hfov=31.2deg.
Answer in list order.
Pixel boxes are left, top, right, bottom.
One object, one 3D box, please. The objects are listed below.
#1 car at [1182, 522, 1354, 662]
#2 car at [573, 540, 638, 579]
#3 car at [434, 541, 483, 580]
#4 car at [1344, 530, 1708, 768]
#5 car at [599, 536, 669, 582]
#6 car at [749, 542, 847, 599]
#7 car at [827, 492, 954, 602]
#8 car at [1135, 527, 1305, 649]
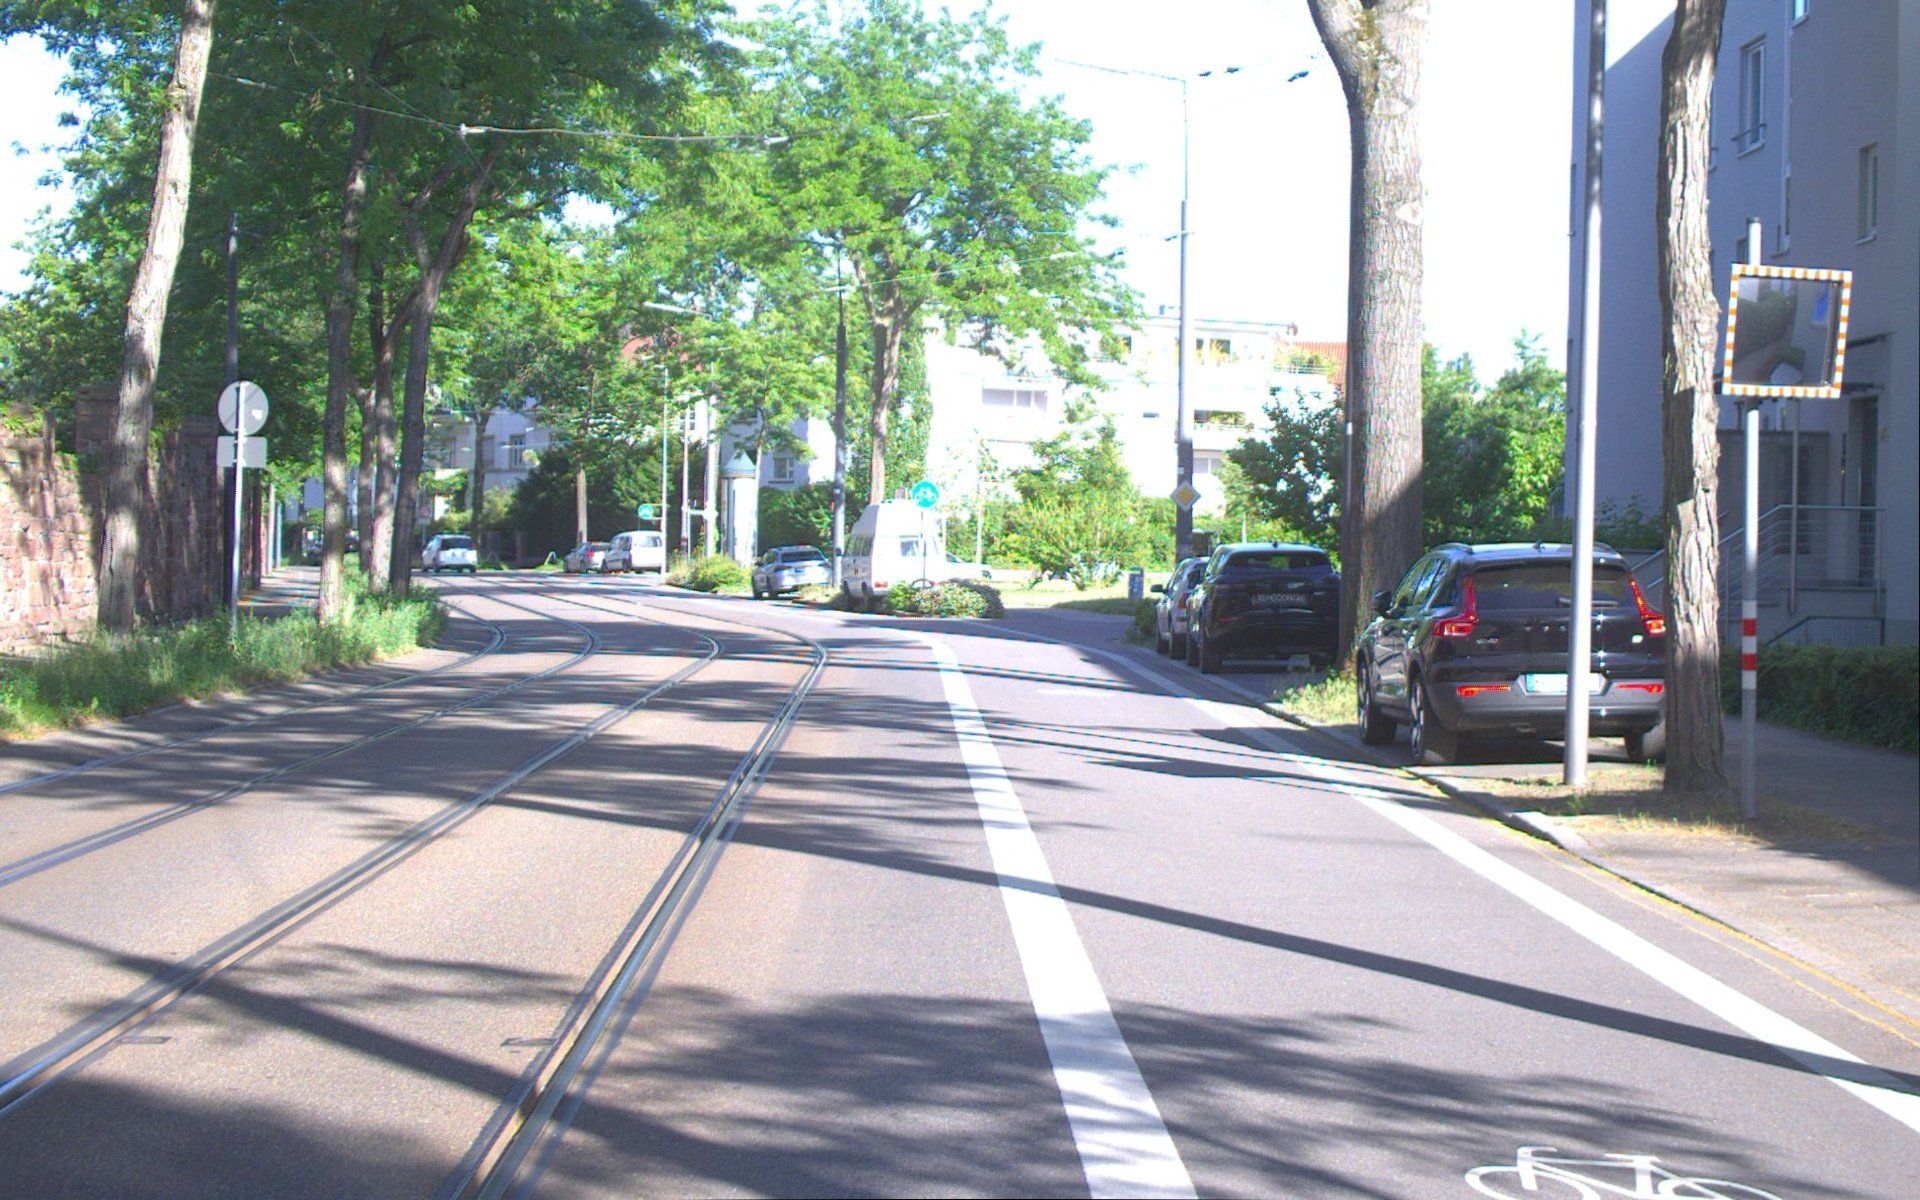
[{"bbox_3d":[3.879,-0.137,43.945,2.003,1.669,4.392,-1,1,3],"label":"car"},{"bbox_3d":[-15.854,-1.821,153.416,2.002,1.669,4.174,-1,1,-18],"label":"car"},{"bbox_3d":[-22.110,-1.753,151.455,1.865,1.669,4.174,0,1,-12],"label":"car"},{"bbox_3d":[4.279,0.308,26.682,2.003,1.669,4.393,-1,1,-1],"label":"car"},{"bbox_3d":[-13.995,-1.753,147.474,2.002,1.903,4.393,-1,1,-18],"label":"car"},{"bbox_3d":[-4.639,-0.857,97.768,2.002,1.555,4.394,0,1,-13],"label":"car"},{"bbox_3d":[-1.650,-1.235,79.777,1.993,2.449,4.510,0,1,-14],"label":"car"},{"bbox_3d":[3.709,-0.208,49.781,2.002,1.669,4.393,-1,1,-1],"label":"car"}]
